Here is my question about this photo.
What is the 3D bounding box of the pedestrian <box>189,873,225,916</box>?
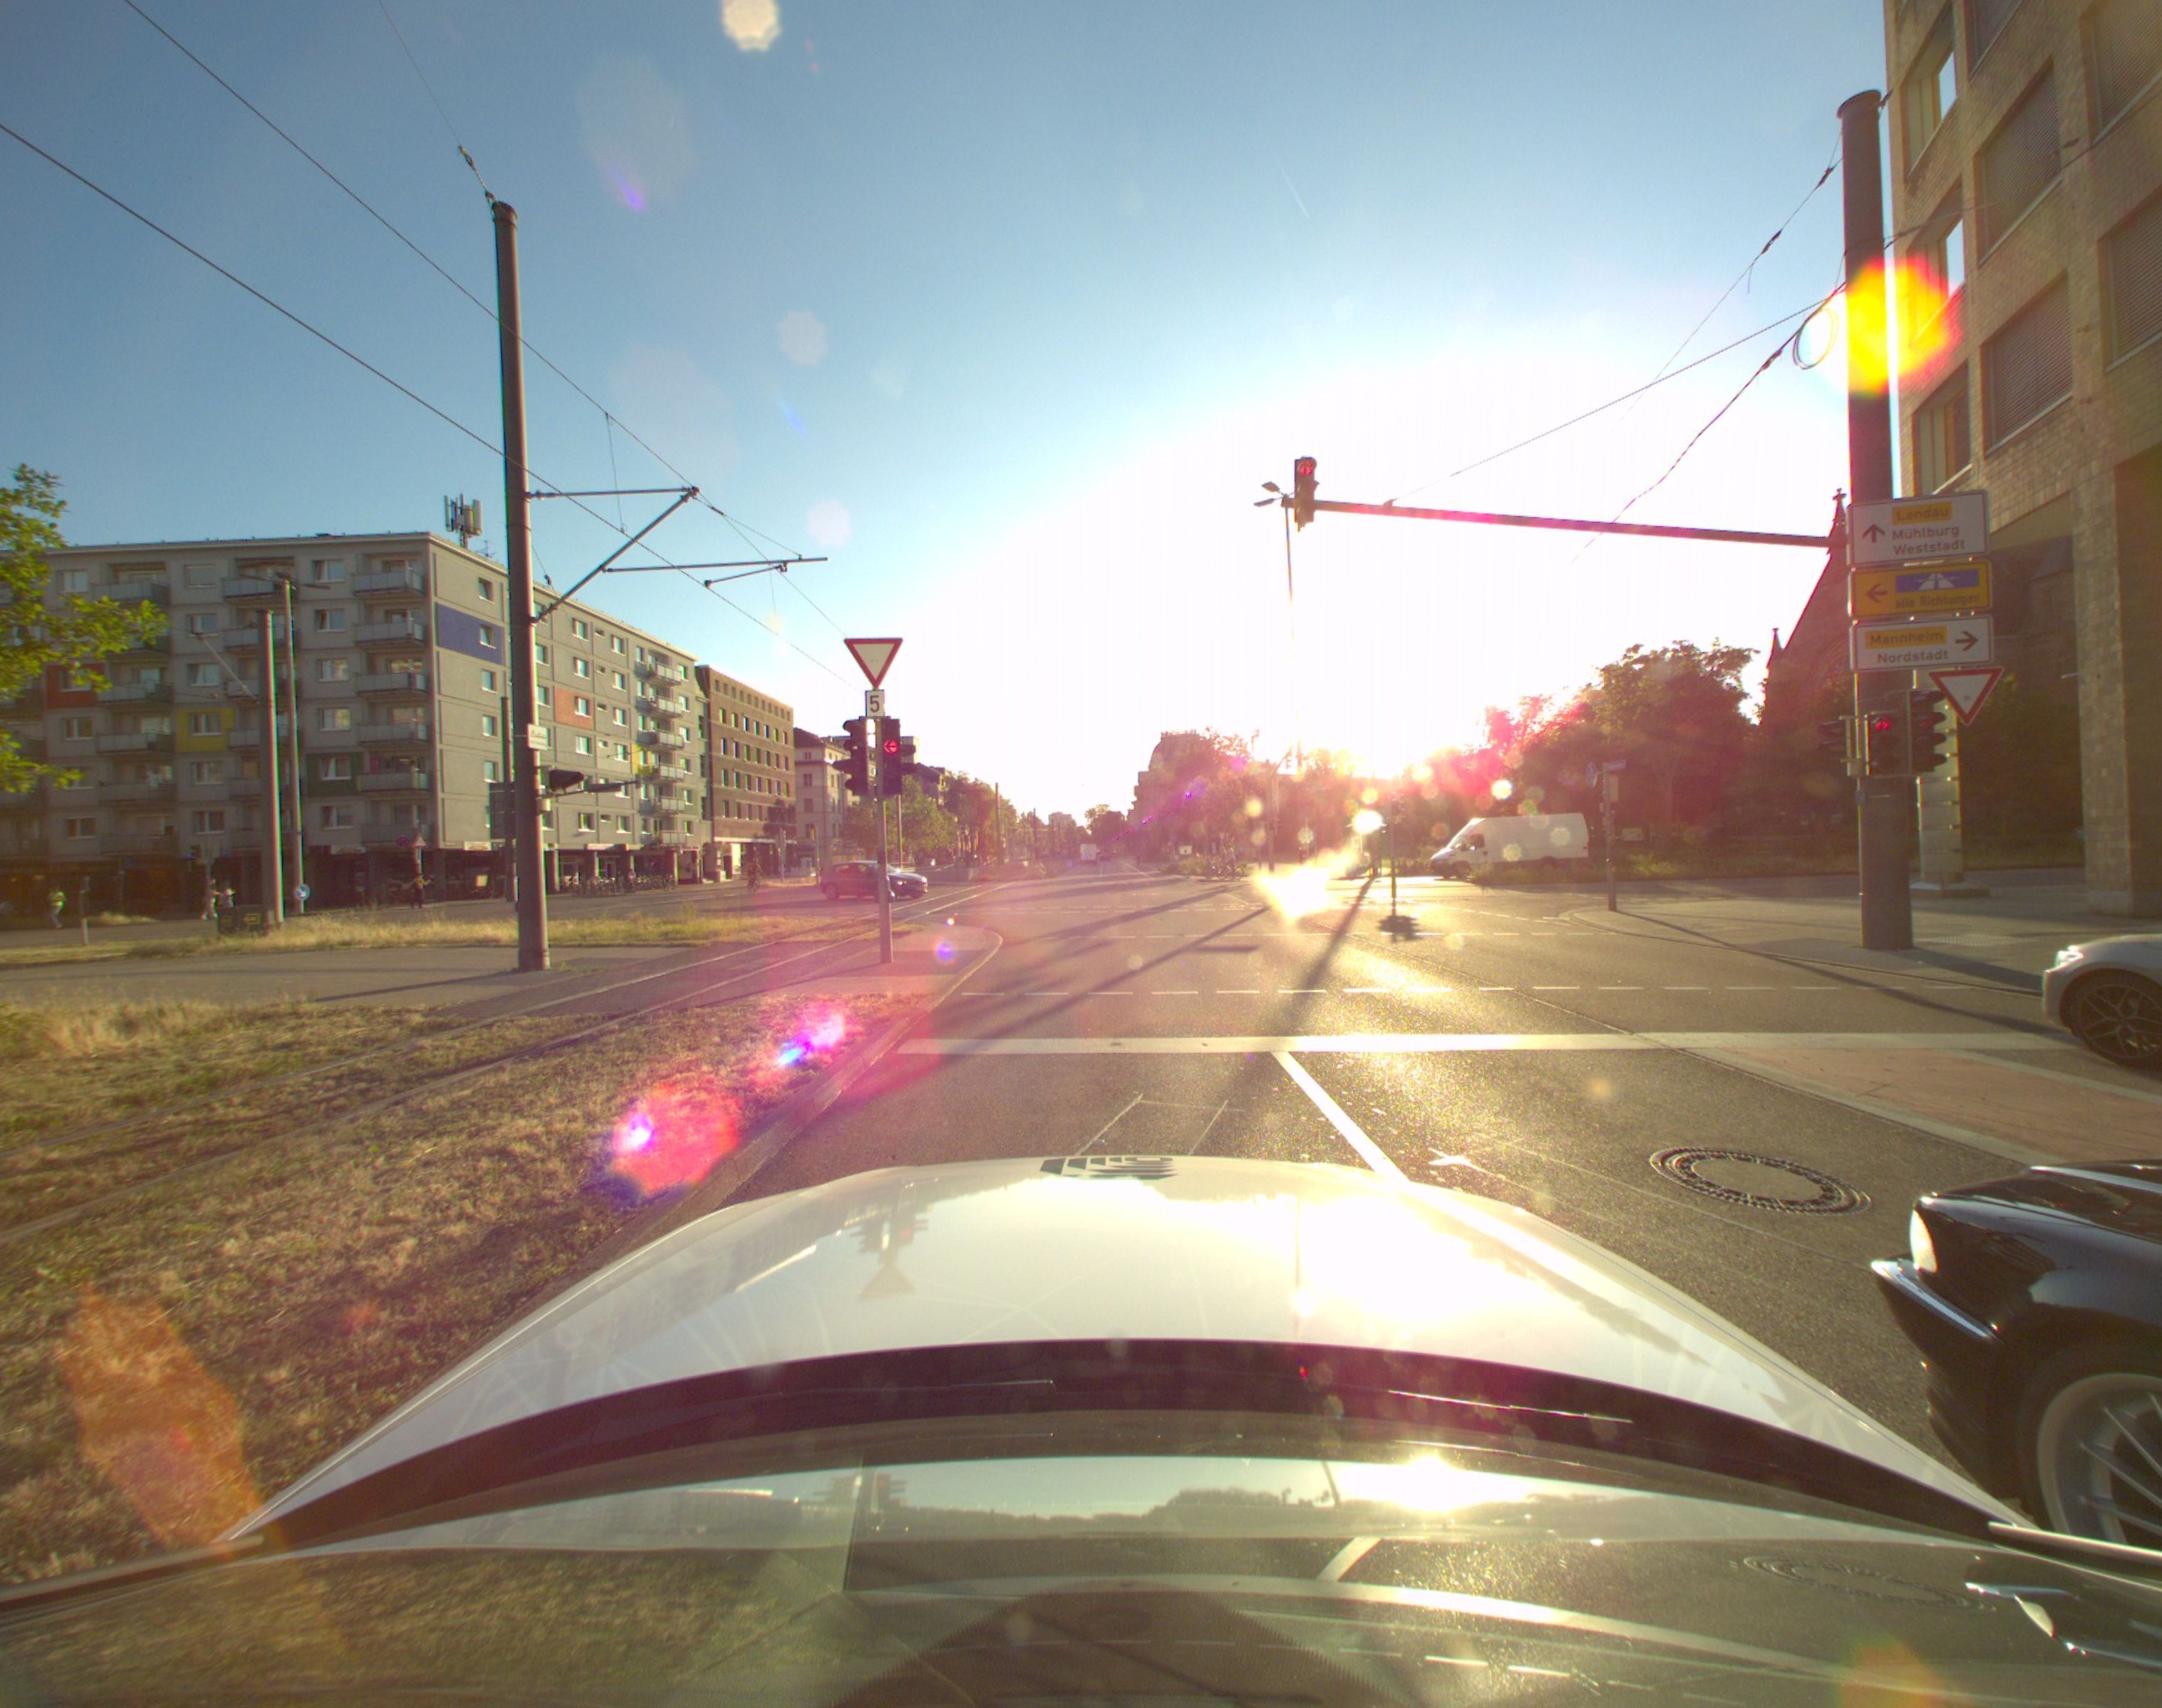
[{"bbox_3d":[-38.808,1.799,36.182,0.702,1.851,0.737,-2,1,2],"label":"pedestrian"}]

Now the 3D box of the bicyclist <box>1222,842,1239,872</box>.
[{"bbox_3d":[8.009,0.170,43.747,0.793,1.571,0.664,-2,1,7],"label":"bicyclist"}]

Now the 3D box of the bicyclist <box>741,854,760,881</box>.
[{"bbox_3d":[-17.728,0.709,43.683,0.855,1.442,0.659,0,1,-17],"label":"bicyclist"}]

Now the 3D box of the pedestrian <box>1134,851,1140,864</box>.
[{"bbox_3d":[6.629,0.387,96.344,0.613,1.475,0.801,-2,1,6],"label":"pedestrian"}]

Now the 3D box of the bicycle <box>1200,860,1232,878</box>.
[{"bbox_3d":[7.578,0.834,45.651,1.710,0.970,0.610,-1,1,5],"label":"bicycle"}]

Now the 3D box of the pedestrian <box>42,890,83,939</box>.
[{"bbox_3d":[-39.962,2.376,31.950,0.631,1.847,0.682,-2,1,2],"label":"pedestrian"}]

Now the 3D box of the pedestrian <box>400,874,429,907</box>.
[{"bbox_3d":[-34.662,1.887,42.363,0.734,1.669,0.785,-2,1,10],"label":"pedestrian"}]

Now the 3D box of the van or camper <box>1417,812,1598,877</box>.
[{"bbox_3d":[19.831,-0.447,38.162,7.012,2.674,2.601,-2,1,3],"label":"van or camper"}]

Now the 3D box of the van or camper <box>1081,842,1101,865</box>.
[{"bbox_3d":[1.220,-0.111,97.570,2.254,2.624,4.506,-2,1,2],"label":"van or camper"}]

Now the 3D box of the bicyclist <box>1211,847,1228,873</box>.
[{"bbox_3d":[7.729,0.328,45.632,0.849,1.442,0.664,-2,1,6],"label":"bicyclist"}]

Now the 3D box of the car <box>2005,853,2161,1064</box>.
[{"bbox_3d":[7.971,0.712,4.150,1.777,1.354,4.269,-1,1,2],"label":"car"}]

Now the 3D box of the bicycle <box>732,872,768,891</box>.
[{"bbox_3d":[-17.729,1.466,43.695,1.732,0.970,0.700,0,1,-17],"label":"bicycle"}]

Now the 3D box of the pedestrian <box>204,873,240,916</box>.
[{"bbox_3d":[-37.991,1.789,36.017,0.600,1.847,0.823,-2,1,2],"label":"pedestrian"}]

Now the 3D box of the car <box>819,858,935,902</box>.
[{"bbox_3d":[-7.590,0.983,30.264,3.950,1.434,1.729,-2,0,26],"label":"car"}]

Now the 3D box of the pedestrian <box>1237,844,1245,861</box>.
[{"bbox_3d":[16.080,-0.165,81.948,0.679,1.611,0.613,-2,1,2],"label":"pedestrian"}]

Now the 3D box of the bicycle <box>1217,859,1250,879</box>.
[{"bbox_3d":[8.186,0.804,43.740,1.719,0.970,0.611,-1,1,7],"label":"bicycle"}]

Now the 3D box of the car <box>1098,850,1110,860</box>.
[{"bbox_3d":[3.496,0.171,123.736,1.730,1.385,4.003,-2,1,2],"label":"car"}]
